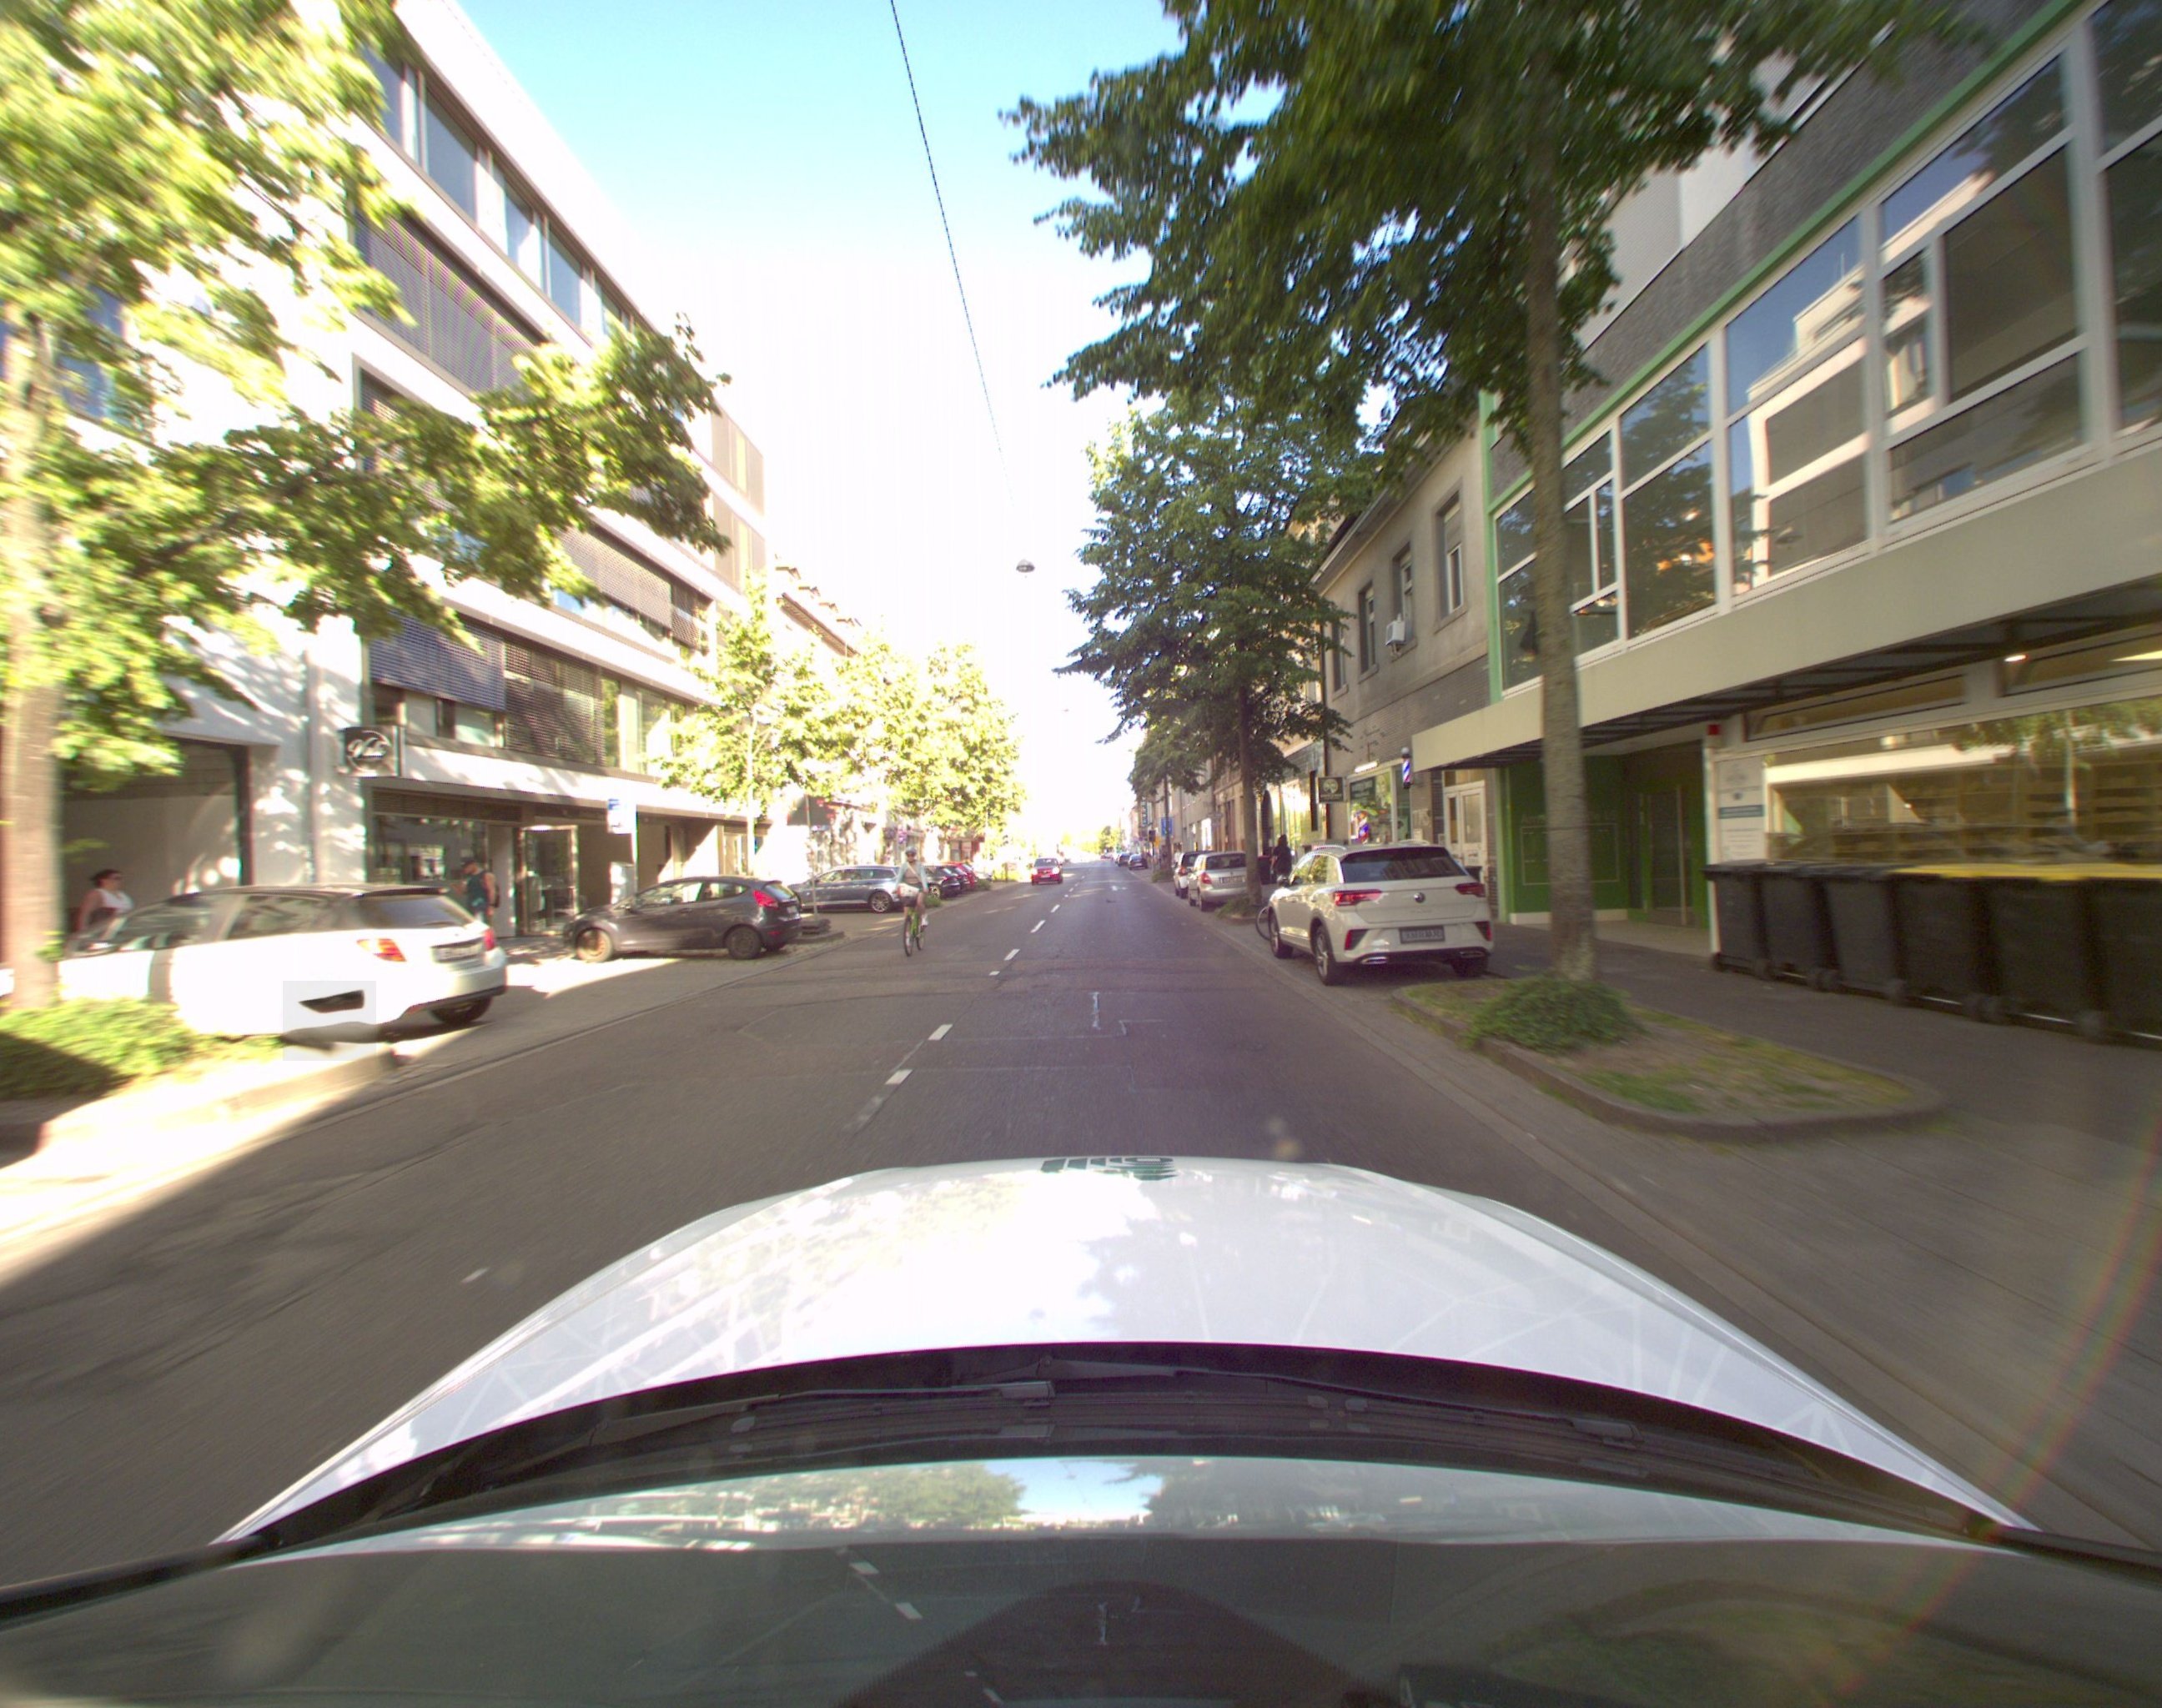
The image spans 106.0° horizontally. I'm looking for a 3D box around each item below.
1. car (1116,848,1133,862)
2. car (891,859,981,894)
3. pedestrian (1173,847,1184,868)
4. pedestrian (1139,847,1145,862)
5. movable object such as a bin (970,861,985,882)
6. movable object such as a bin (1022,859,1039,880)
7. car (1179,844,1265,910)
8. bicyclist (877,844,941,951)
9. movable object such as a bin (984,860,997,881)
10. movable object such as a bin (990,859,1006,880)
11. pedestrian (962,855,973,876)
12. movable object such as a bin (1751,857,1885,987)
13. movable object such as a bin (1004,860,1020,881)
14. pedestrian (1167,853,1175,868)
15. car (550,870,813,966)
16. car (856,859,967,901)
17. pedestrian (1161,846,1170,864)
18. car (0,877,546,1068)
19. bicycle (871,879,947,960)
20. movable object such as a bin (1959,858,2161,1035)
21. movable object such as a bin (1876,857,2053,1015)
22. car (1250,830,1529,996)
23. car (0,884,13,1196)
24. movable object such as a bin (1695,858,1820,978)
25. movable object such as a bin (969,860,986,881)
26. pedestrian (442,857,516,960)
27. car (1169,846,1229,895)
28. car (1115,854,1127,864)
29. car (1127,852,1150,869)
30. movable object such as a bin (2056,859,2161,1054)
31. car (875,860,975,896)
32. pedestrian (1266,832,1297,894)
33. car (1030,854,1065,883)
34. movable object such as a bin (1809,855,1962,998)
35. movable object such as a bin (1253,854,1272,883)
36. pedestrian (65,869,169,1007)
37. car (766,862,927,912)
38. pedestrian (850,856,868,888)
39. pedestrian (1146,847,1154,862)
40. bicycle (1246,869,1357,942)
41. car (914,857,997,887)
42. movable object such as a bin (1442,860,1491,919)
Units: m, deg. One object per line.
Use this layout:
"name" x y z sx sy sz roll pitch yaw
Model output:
"car" 5.241 0.106 97.915 1.966 1.725 4.826 0 0 2
"car" -6.559 1.003 37.150 3.735 1.468 1.740 -1 0 1
"pedestrian" 7.333 0.267 61.142 0.578 1.559 1.021 -5 0 0
"pedestrian" 7.099 0.047 95.328 0.617 1.766 0.519 -2 -1 4
"movable object such as a bin" -6.628 1.112 52.150 0.752 1.341 0.805 -2 0 0
"movable object such as a bin" -3.657 1.136 59.310 1.038 1.471 1.452 -2 0 0
"car" 3.805 0.580 22.665 1.608 1.528 4.235 -5 0 1
"bicyclist" -2.882 0.699 13.760 0.722 1.700 1.283 -2 0 2
"movable object such as a bin" -5.794 1.063 52.202 0.632 1.341 0.805 -2 0 0
"movable object such as a bin" -6.028 1.107 59.292 0.960 1.471 1.143 -2 0 0
"pedestrian" -9.031 0.914 64.612 0.662 1.659 1.037 -2 0 1
"movable object such as a bin" 6.431 0.576 7.134 0.611 1.064 0.590 -2 0 2
"movable object such as a bin" -5.011 1.169 59.239 1.038 1.471 1.143 -2 0 0
"pedestrian" 6.775 0.481 61.274 0.392 1.033 0.740 -5 0 0
"car" -6.952 1.077 14.542 3.775 1.458 1.777 -2 0 -6
"car" -6.616 0.995 31.974 3.903 1.485 1.772 -1 0 2
"pedestrian" 8.013 0.071 77.190 0.689 1.635 0.889 -4 0 1
"car" -7.999 1.034 7.888 4.235 1.458 1.978 -2 0 -3
"bicycle" -2.867 1.056 13.813 0.722 1.169 2.198 -2 0 2
"movable object such as a bin" 6.374 0.570 5.312 0.611 1.064 0.590 -2 0 2
"movable object such as a bin" 6.401 0.569 5.931 0.611 1.064 0.590 -2 0 2
"car" 3.529 0.587 10.272 1.876 1.527 4.234 -4 0 1
"car" -7.673 0.998 3.209 4.350 1.570 1.981 -1 0 1
"movable object such as a bin" 6.430 0.586 7.772 0.611 1.064 0.656 -2 0 2
"movable object such as a bin" -7.513 1.228 59.306 1.038 1.471 1.143 -2 0 0
"pedestrian" -10.862 0.974 14.713 0.694 1.797 0.748 -2 0 13
"car" 4.059 0.547 28.396 1.608 1.528 3.061 -4 0 1
"car" 6.592 0.787 133.988 1.711 1.636 4.083 -1 -1 0
"car" 5.453 0.606 78.305 1.910 1.478 4.966 -6 0 2
"movable object such as a bin" 6.339 0.574 4.727 0.608 1.064 0.590 -2 0 2
"car" -6.574 0.999 34.615 3.825 1.429 1.791 -1 0 2
"pedestrian" 5.884 0.265 23.935 0.620 1.765 0.771 -4 0 2
"car" -1.885 0.797 46.784 1.652 1.535 3.762 -3 0 2
"movable object such as a bin" 6.424 0.556 6.533 0.611 1.064 0.590 -2 0 2
"movable object such as a bin" 6.921 0.546 30.994 0.520 1.040 0.722 -4 0 2
"pedestrian" -12.891 1.090 10.900 0.639 1.735 0.750 -2 0 28
"car" -7.217 1.014 25.406 4.478 1.459 1.790 0 0 -1
"pedestrian" -10.049 0.819 36.881 0.505 1.408 0.826 -1 0 6
"pedestrian" 8.058 0.060 95.124 0.797 1.675 0.590 -4 -1 4
"bicycle" 3.673 0.852 13.642 1.617 1.012 0.611 -6 0 -1
"car" -6.818 0.971 44.458 4.185 1.468 1.741 -1 0 3
"movable object such as a bin" 6.672 0.605 14.129 0.520 0.956 0.656 -2 0 2
